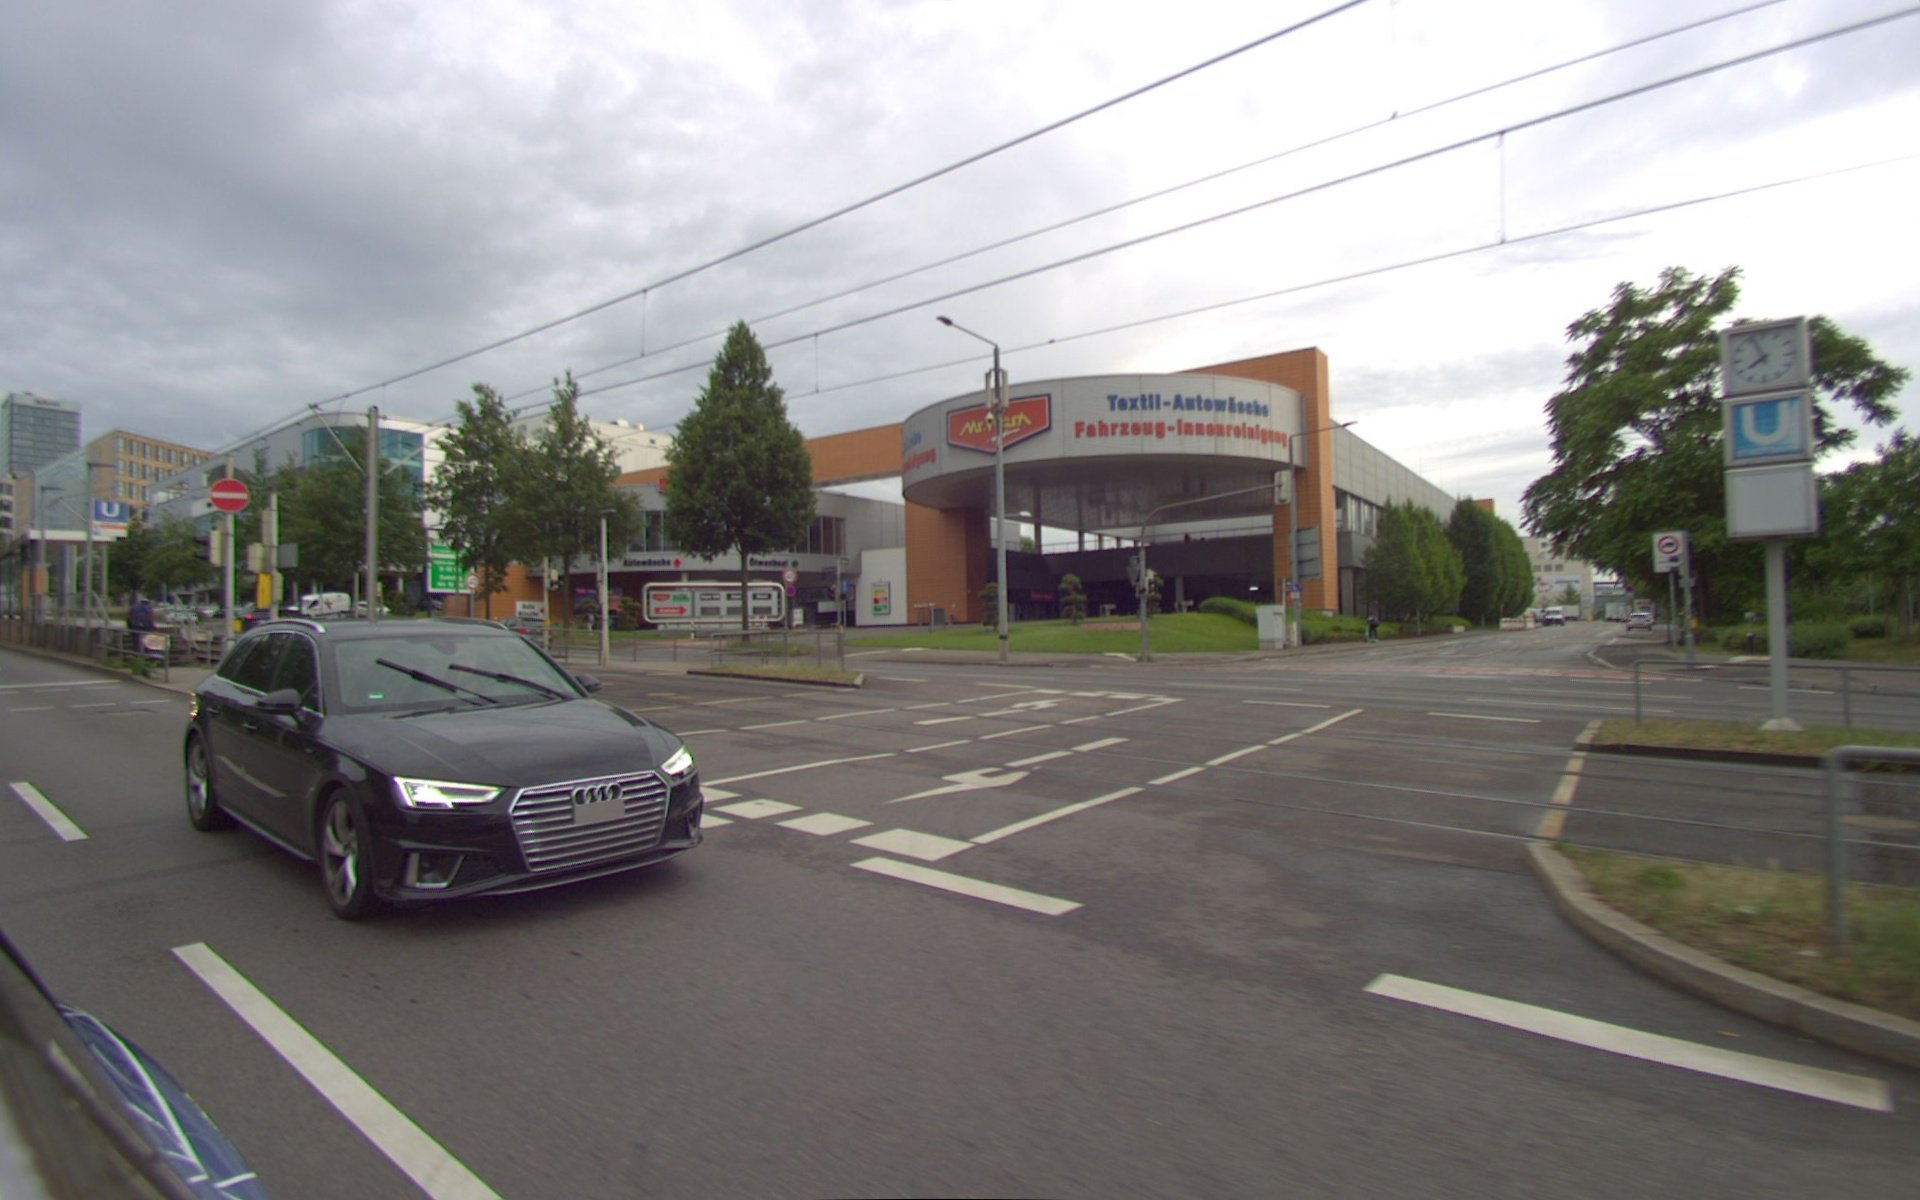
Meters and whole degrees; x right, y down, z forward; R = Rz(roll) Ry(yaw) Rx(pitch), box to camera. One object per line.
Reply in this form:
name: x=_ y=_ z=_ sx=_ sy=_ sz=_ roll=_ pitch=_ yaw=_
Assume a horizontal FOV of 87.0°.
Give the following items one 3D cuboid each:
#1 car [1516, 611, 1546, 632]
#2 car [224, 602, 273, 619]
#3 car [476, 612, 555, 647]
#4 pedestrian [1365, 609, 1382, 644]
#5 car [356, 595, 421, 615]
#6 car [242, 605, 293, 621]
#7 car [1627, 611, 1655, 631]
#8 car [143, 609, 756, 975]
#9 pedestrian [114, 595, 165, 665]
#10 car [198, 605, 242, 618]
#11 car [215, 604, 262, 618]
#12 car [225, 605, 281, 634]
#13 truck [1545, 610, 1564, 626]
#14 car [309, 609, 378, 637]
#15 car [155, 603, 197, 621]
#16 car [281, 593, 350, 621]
car: x=59.182 y=2.233 z=104.821 sx=2.236 sy=2.029 sz=3.951 roll=0 pitch=1 yaw=36
car: x=-78.278 y=1.097 z=111.391 sx=1.917 sy=1.674 sz=3.954 roll=-1 pitch=2 yaw=34
car: x=-19.326 y=1.267 z=43.955 sx=3.777 sy=1.434 sz=1.710 roll=0 pitch=-1 yaw=41
pedestrian: x=24.193 y=1.531 z=59.206 sx=0.775 sy=2.045 sz=0.876 roll=-1 pitch=-1 yaw=31
car: x=-59.679 y=0.541 z=105.781 sx=2.274 sy=1.940 sz=5.420 roll=0 pitch=1 yaw=35
car: x=-72.615 y=1.334 z=106.139 sx=1.892 sy=1.519 sz=3.956 roll=0 pitch=1 yaw=33
car: x=57.204 y=1.710 z=84.964 sx=1.871 sy=1.608 sz=3.927 roll=-1 pitch=-1 yaw=36
car: x=-3.481 y=0.798 z=6.342 sx=4.826 sy=1.445 sz=1.771 roll=-1 pitch=0 yaw=41
pedestrian: x=-19.794 y=0.716 z=24.411 sx=0.643 sy=1.663 sz=0.700 roll=-1 pitch=0 yaw=13
car: x=-87.067 y=1.325 z=119.184 sx=1.812 sy=1.502 sz=3.813 roll=-1 pitch=0 yaw=23
car: x=-80.655 y=1.190 z=113.141 sx=1.819 sy=1.502 sz=3.954 roll=-1 pitch=0 yaw=34
car: x=-45.424 y=1.213 z=64.999 sx=4.387 sy=1.788 sz=1.972 roll=0 pitch=-1 yaw=42
truck: x=80.351 y=2.386 z=136.828 sx=2.212 sy=2.029 sz=4.692 roll=-1 pitch=-1 yaw=31
car: x=-33.569 y=1.262 z=55.080 sx=4.384 sy=1.438 sz=1.835 roll=0 pitch=-2 yaw=39
car: x=-70.283 y=1.049 z=90.673 sx=4.703 sy=1.529 sz=1.974 roll=0 pitch=1 yaw=40
car: x=-64.164 y=0.640 z=100.830 sx=2.265 sy=2.648 sz=5.441 roll=0 pitch=1 yaw=24
